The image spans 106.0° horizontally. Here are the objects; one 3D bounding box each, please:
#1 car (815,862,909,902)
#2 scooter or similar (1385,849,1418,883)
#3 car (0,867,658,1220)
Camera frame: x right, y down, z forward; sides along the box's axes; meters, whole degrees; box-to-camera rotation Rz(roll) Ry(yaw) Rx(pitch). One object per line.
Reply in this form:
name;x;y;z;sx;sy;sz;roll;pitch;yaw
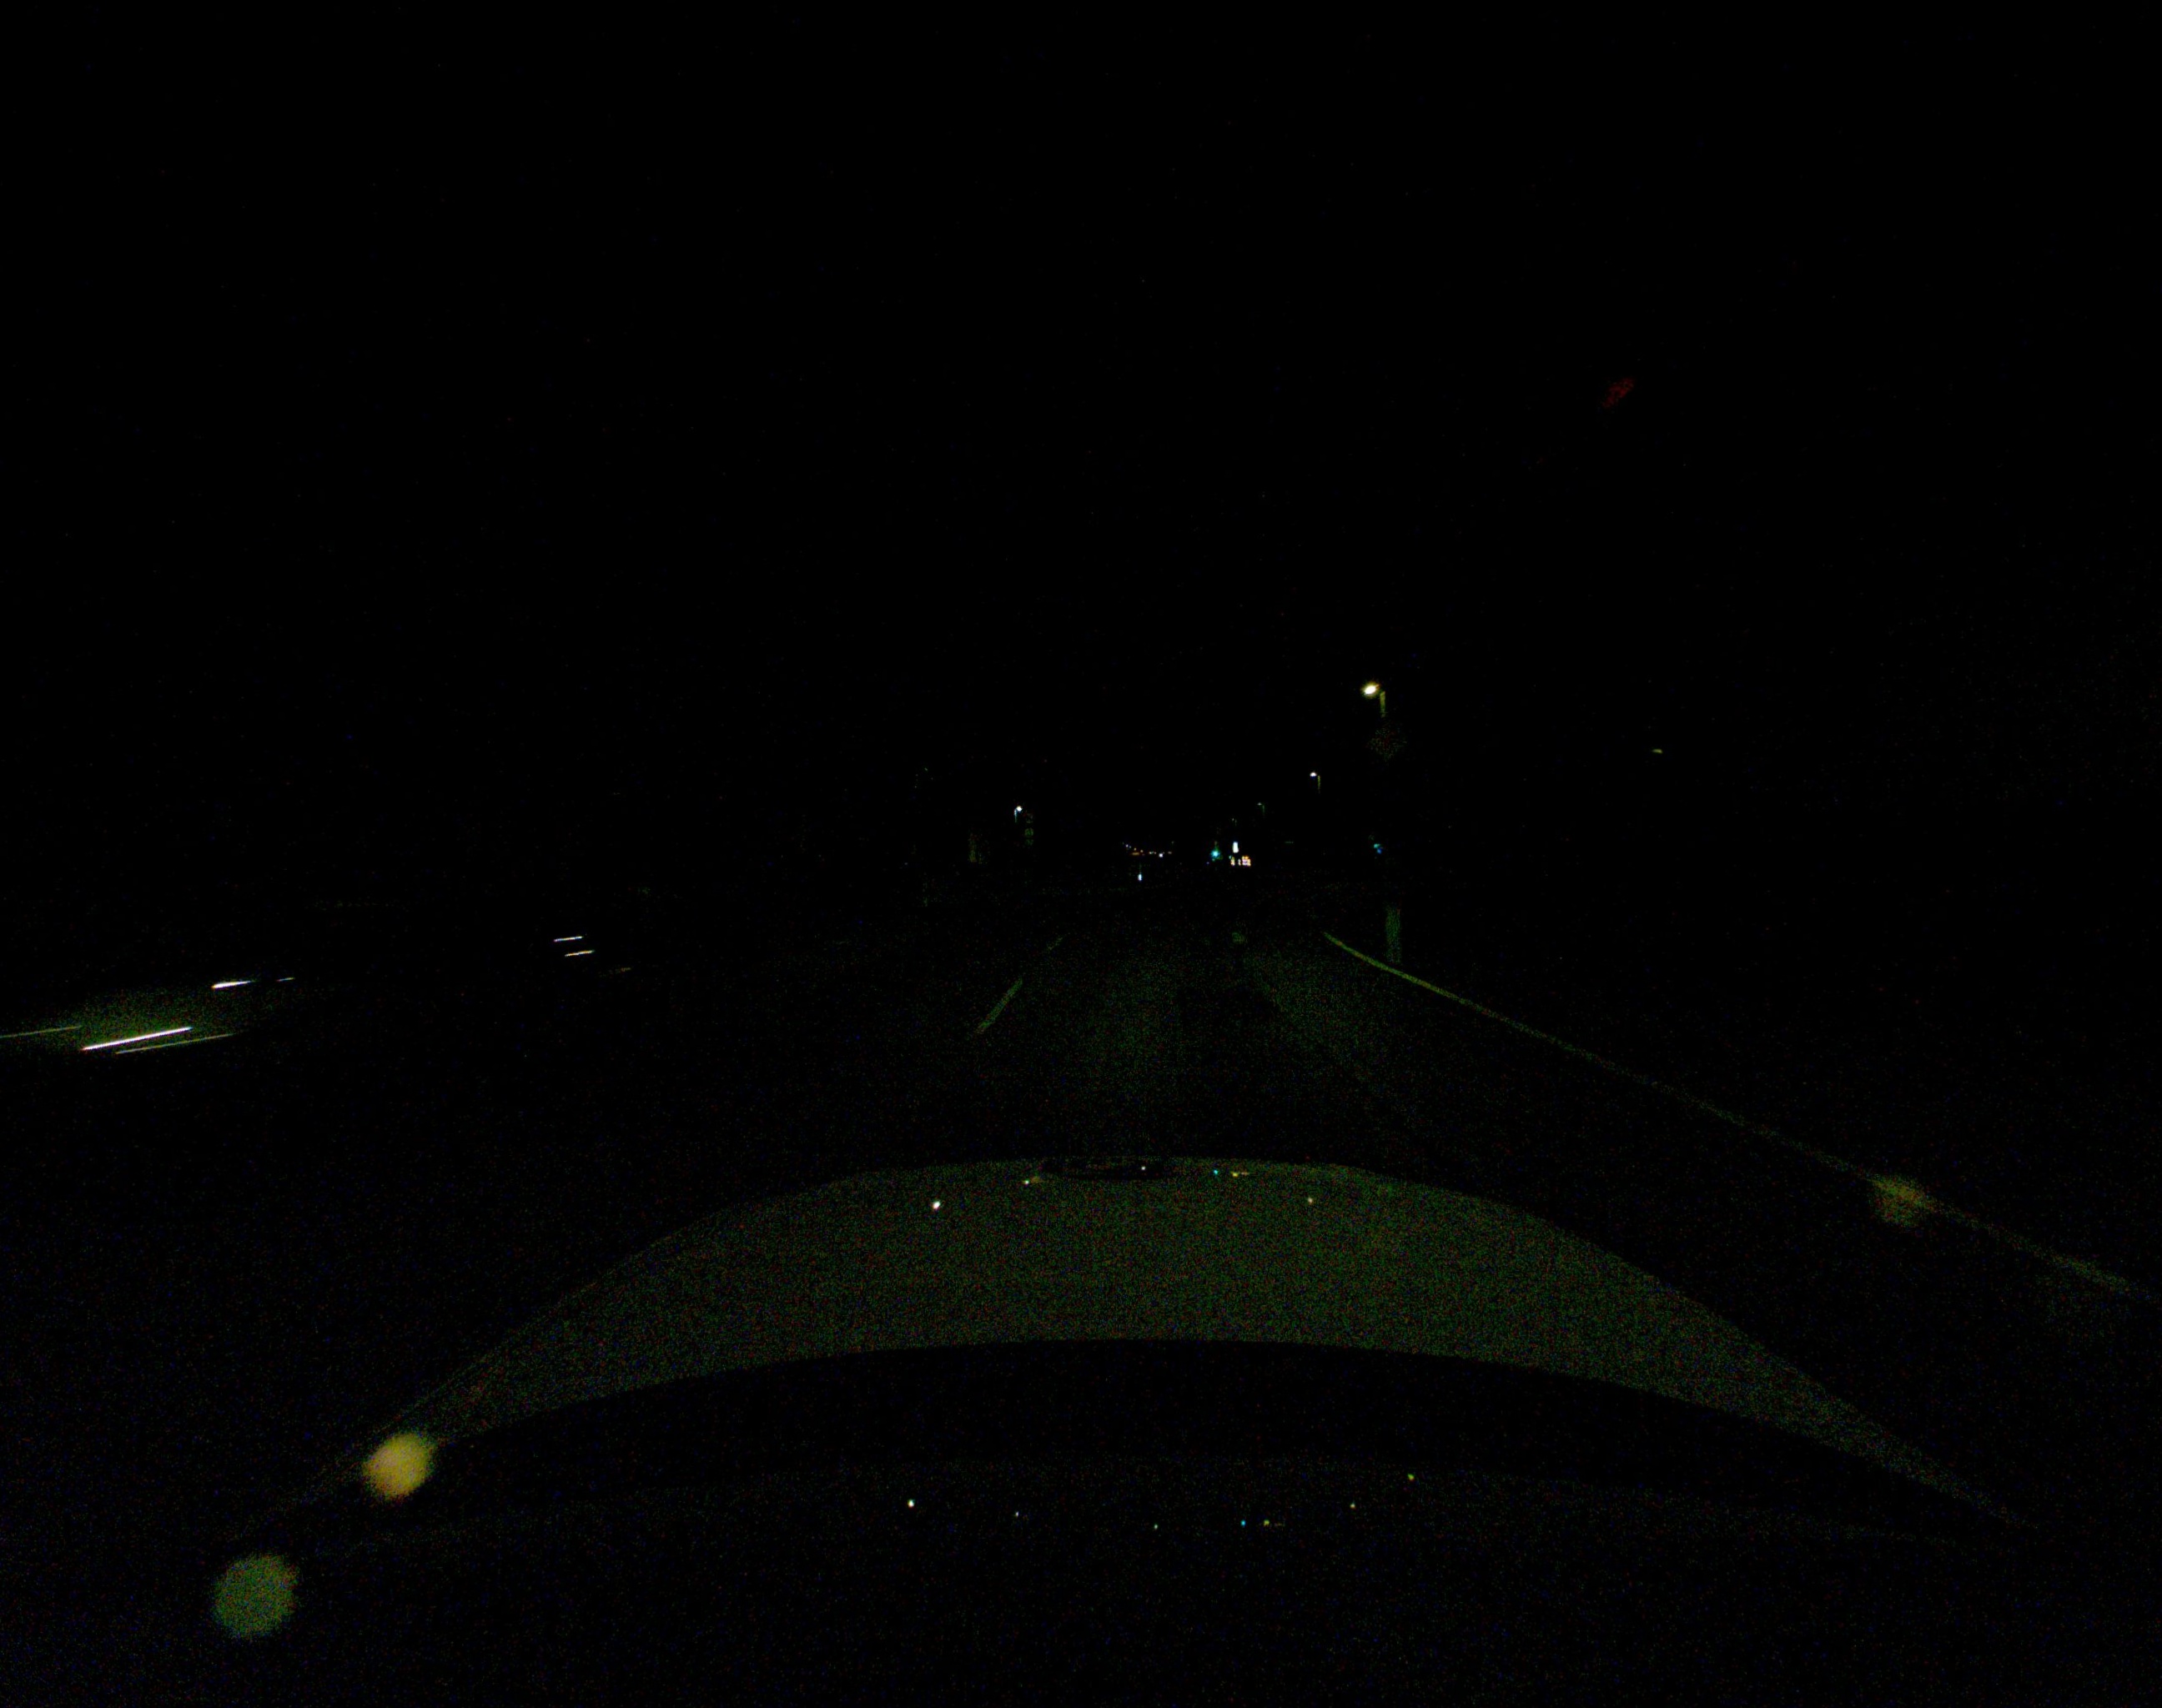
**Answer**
car;-9.896;1.268;36.856;3.681;1.627;1.792;-3;-1;20
scooter or similar;12.410;0.448;31.581;0.609;1.281;1.690;-2;0;0
car;-5.022;0.959;5.933;1.666;1.590;3.988;-2;0;1
